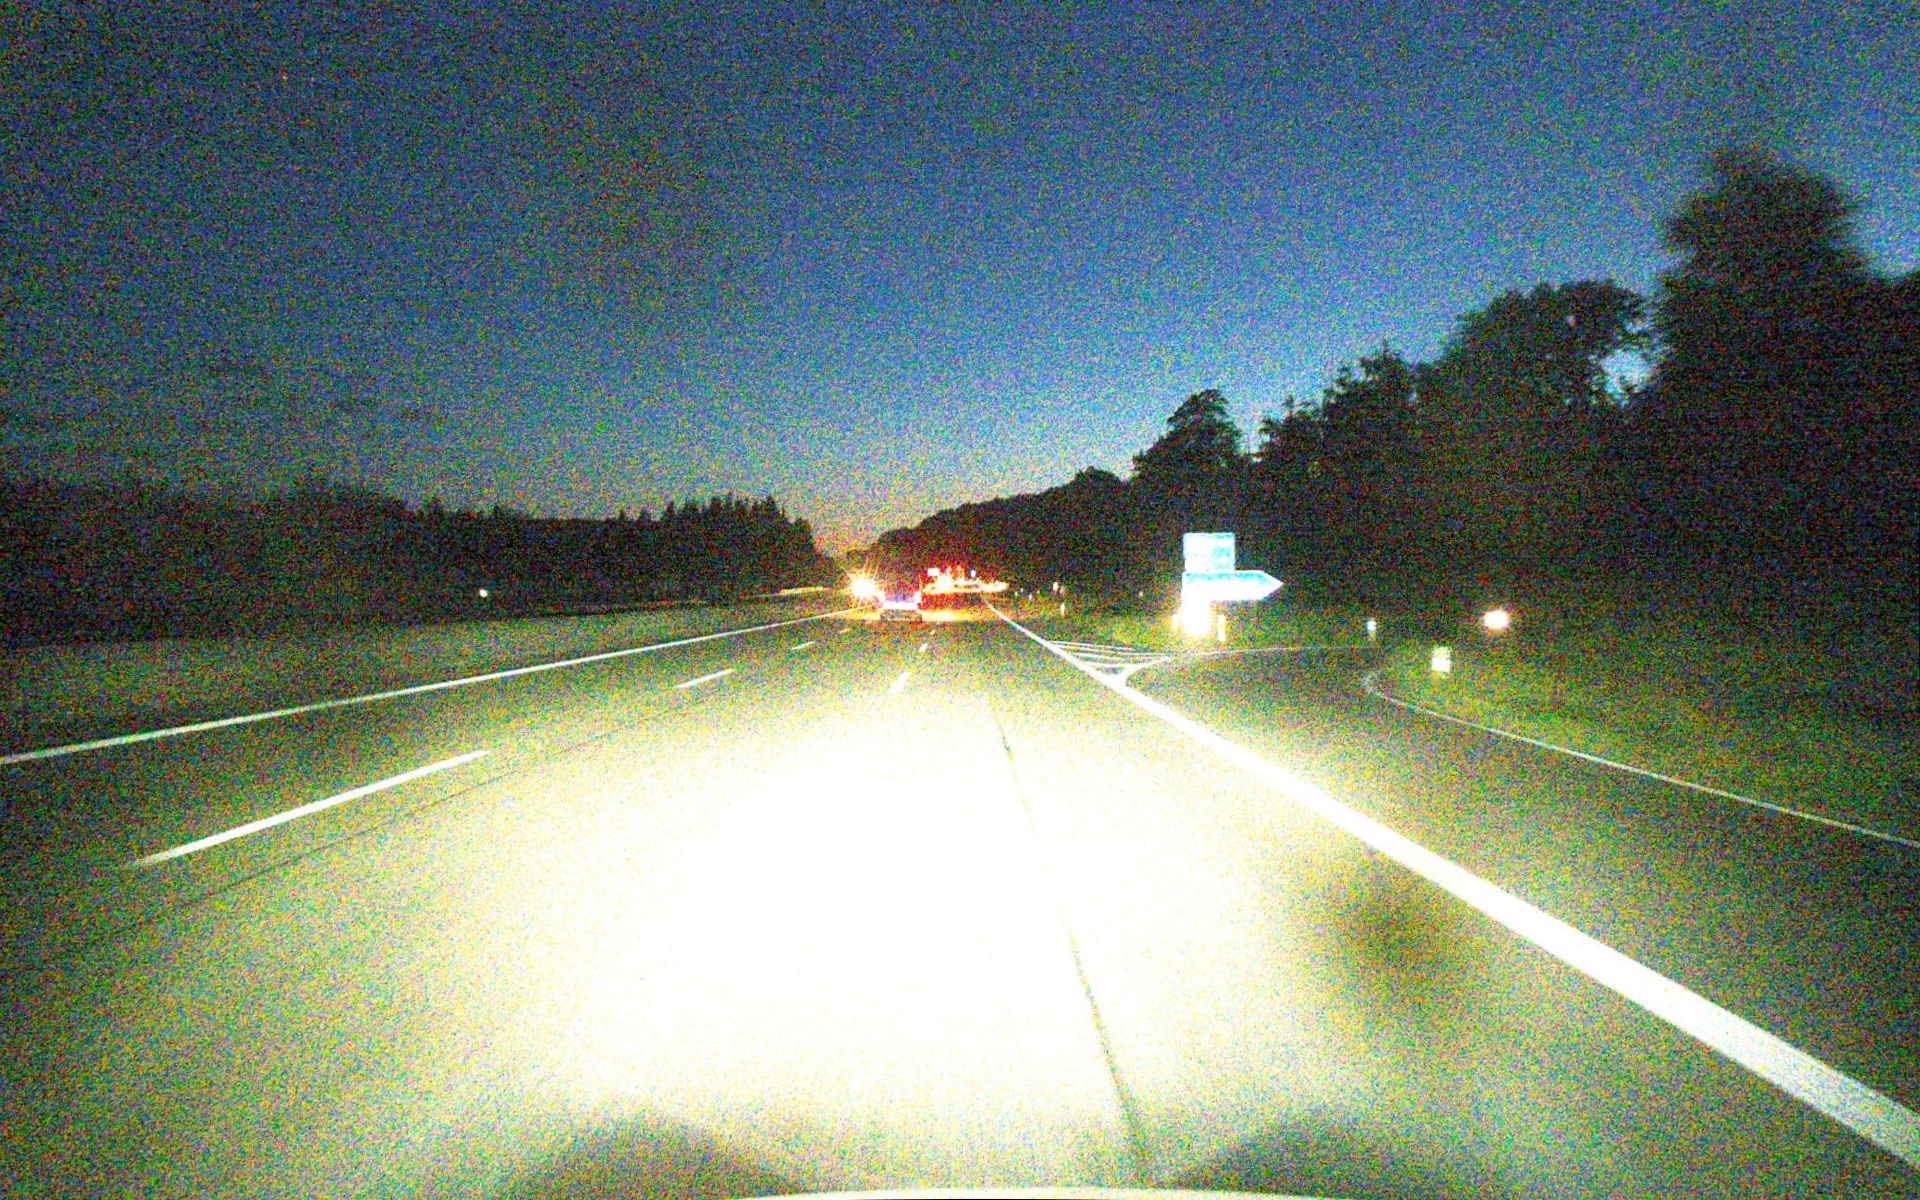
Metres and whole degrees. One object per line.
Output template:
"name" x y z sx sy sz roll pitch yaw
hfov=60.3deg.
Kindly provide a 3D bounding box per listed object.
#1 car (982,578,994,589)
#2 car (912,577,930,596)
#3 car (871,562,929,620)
"car" 4.328 -2.609 254.963 1.806 1.668 4.000 0 1 -1
"car" -6.095 -2.104 256.017 2.730 2.781 6.296 0 -1 -2
"car" -2.939 -0.467 82.719 2.730 2.781 6.299 0 1 0
